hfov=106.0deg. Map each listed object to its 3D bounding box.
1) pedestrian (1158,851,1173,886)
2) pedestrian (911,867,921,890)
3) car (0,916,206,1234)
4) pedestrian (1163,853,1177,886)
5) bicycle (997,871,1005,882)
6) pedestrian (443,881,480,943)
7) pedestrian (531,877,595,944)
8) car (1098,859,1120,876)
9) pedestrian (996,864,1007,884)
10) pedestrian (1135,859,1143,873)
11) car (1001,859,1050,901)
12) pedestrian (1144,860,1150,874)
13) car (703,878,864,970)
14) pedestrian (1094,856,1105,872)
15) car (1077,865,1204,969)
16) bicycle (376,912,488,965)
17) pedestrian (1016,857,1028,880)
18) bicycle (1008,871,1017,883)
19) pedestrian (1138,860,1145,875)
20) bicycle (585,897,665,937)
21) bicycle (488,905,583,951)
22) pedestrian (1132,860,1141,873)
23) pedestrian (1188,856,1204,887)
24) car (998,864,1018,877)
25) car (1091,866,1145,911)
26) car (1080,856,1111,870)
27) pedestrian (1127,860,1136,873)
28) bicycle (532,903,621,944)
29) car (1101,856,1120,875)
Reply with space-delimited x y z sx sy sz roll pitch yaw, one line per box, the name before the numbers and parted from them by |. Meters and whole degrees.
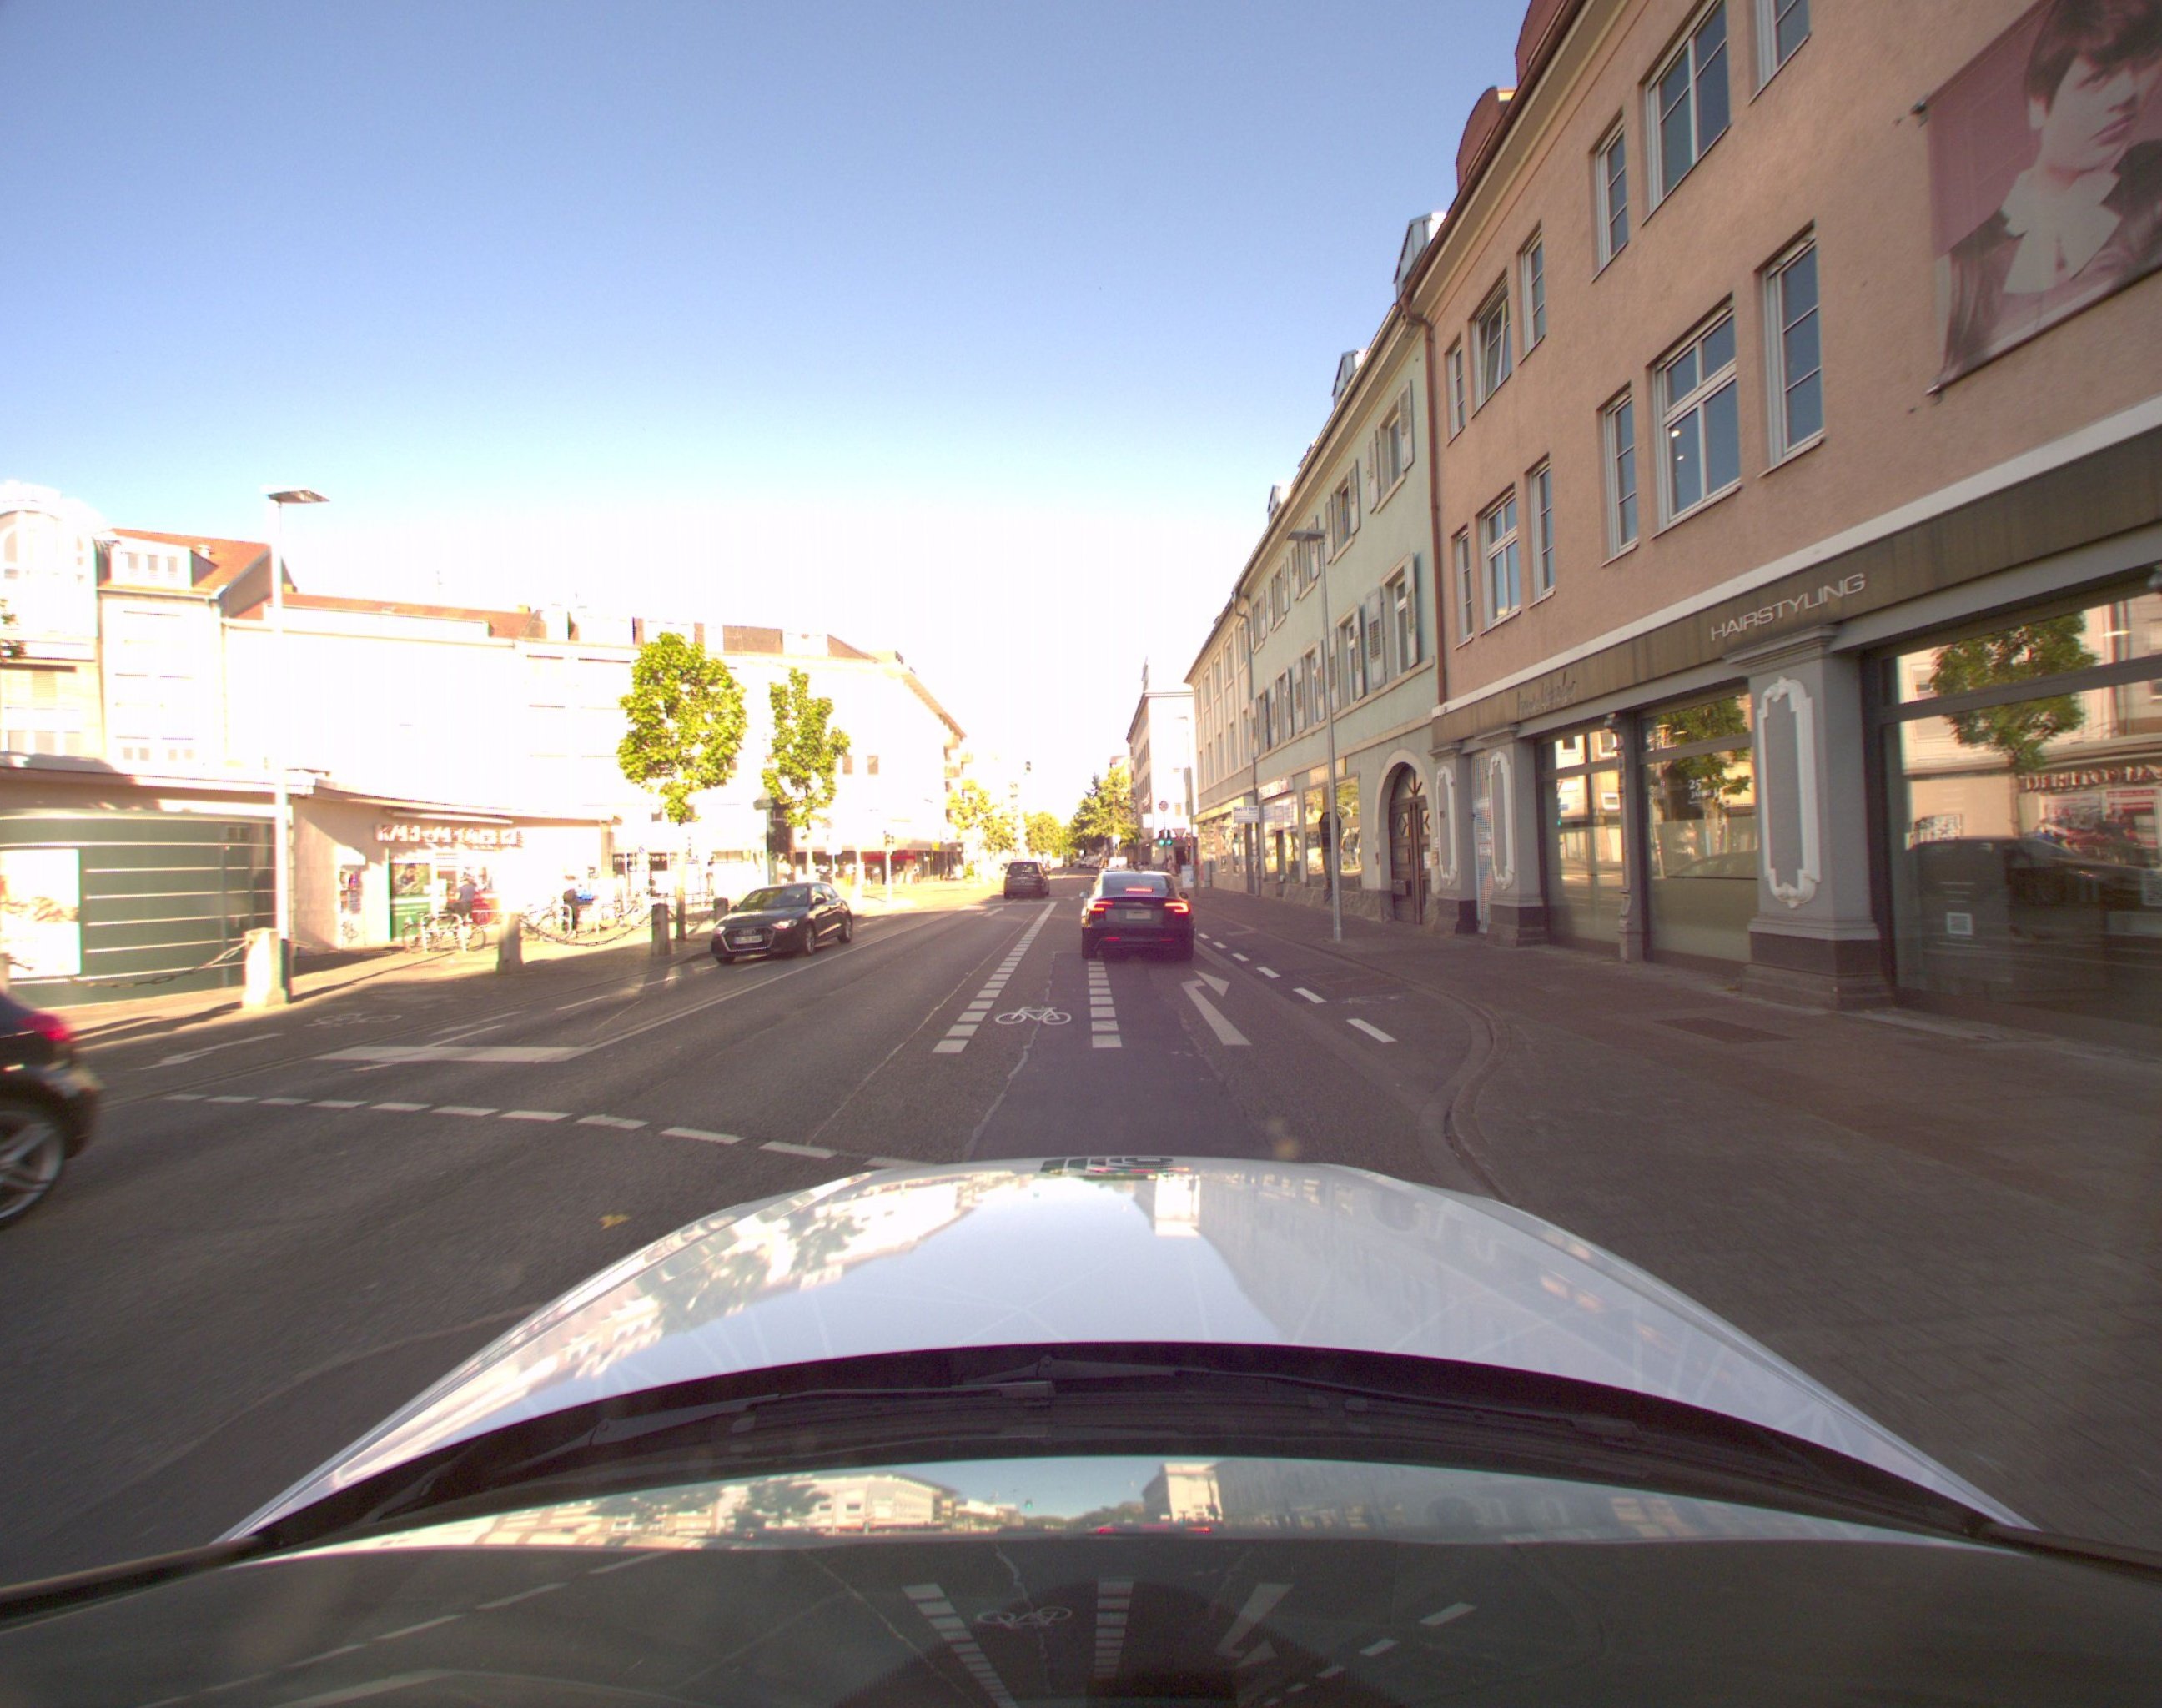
pedestrian | 4.566 0.803 44.206 0.638 1.842 0.681 -3 -1 -1
pedestrian | -12.608 1.892 62.064 0.557 1.709 0.711 -3 -1 -3
car | -5.954 1.139 2.532 1.743 1.423 4.253 -6 0 0
pedestrian | 4.769 0.834 43.664 0.571 1.759 0.649 -2 -1 -1
bicycle | -6.834 1.929 69.607 0.481 0.955 1.448 -3 -1 -14
pedestrian | -17.920 1.669 23.567 0.517 1.709 0.611 -3 -1 -1
pedestrian | -13.844 1.498 21.796 1.074 1.698 0.906 -2 -1 14
car | 2.731 1.317 80.592 1.994 1.636 4.287 -2 0 0
pedestrian | -6.800 1.686 69.309 0.792 1.712 0.651 -2 -1 -15
pedestrian | 6.099 1.271 85.723 0.728 1.360 0.958 -3 -1 -1
car | -2.502 1.162 37.691 1.898 1.733 4.287 -2 0 0
pedestrian | 6.120 1.209 75.739 0.485 1.322 0.655 -3 -1 7
car | -5.816 1.303 16.446 1.645 1.397 4.042 -5 0 0
pedestrian | 2.169 1.208 97.051 0.950 1.915 1.110 -3 -1 16
car | 0.937 0.991 14.595 1.863 1.427 4.364 -3 0 1
bicycle | -13.869 1.800 17.417 1.874 1.002 0.767 -2 -1 8
pedestrian | -5.111 1.267 70.607 0.779 1.866 0.996 -5 0 -15
bicycle | -5.917 1.959 70.505 0.552 0.968 1.787 -3 -1 -12
pedestrian | 5.570 1.231 74.952 0.584 1.313 0.560 -3 -1 0
bicycle | -13.786 1.898 24.646 1.981 1.088 0.754 -2 -1 1
bicycle | -13.374 1.803 19.991 1.874 1.002 0.767 -2 -1 8
pedestrian | 5.721 1.286 84.449 0.729 1.347 1.059 -3 -1 -3
pedestrian | 6.438 0.962 45.675 0.687 1.703 0.912 -4 -1 1
car | -9.225 2.081 103.606 1.986 1.598 4.001 -2 -1 1
car | 1.298 1.196 29.469 1.755 1.418 4.356 -2 -1 2
car | 2.497 1.587 142.306 5.377 2.145 1.999 -3 -1 -2
pedestrian | 5.320 1.313 85.553 0.708 1.347 1.058 -3 -1 -4
bicycle | -13.836 1.911 22.351 1.998 1.002 0.891 -3 -1 14
car | 3.126 1.186 87.026 1.898 1.852 4.287 -2 0 0
